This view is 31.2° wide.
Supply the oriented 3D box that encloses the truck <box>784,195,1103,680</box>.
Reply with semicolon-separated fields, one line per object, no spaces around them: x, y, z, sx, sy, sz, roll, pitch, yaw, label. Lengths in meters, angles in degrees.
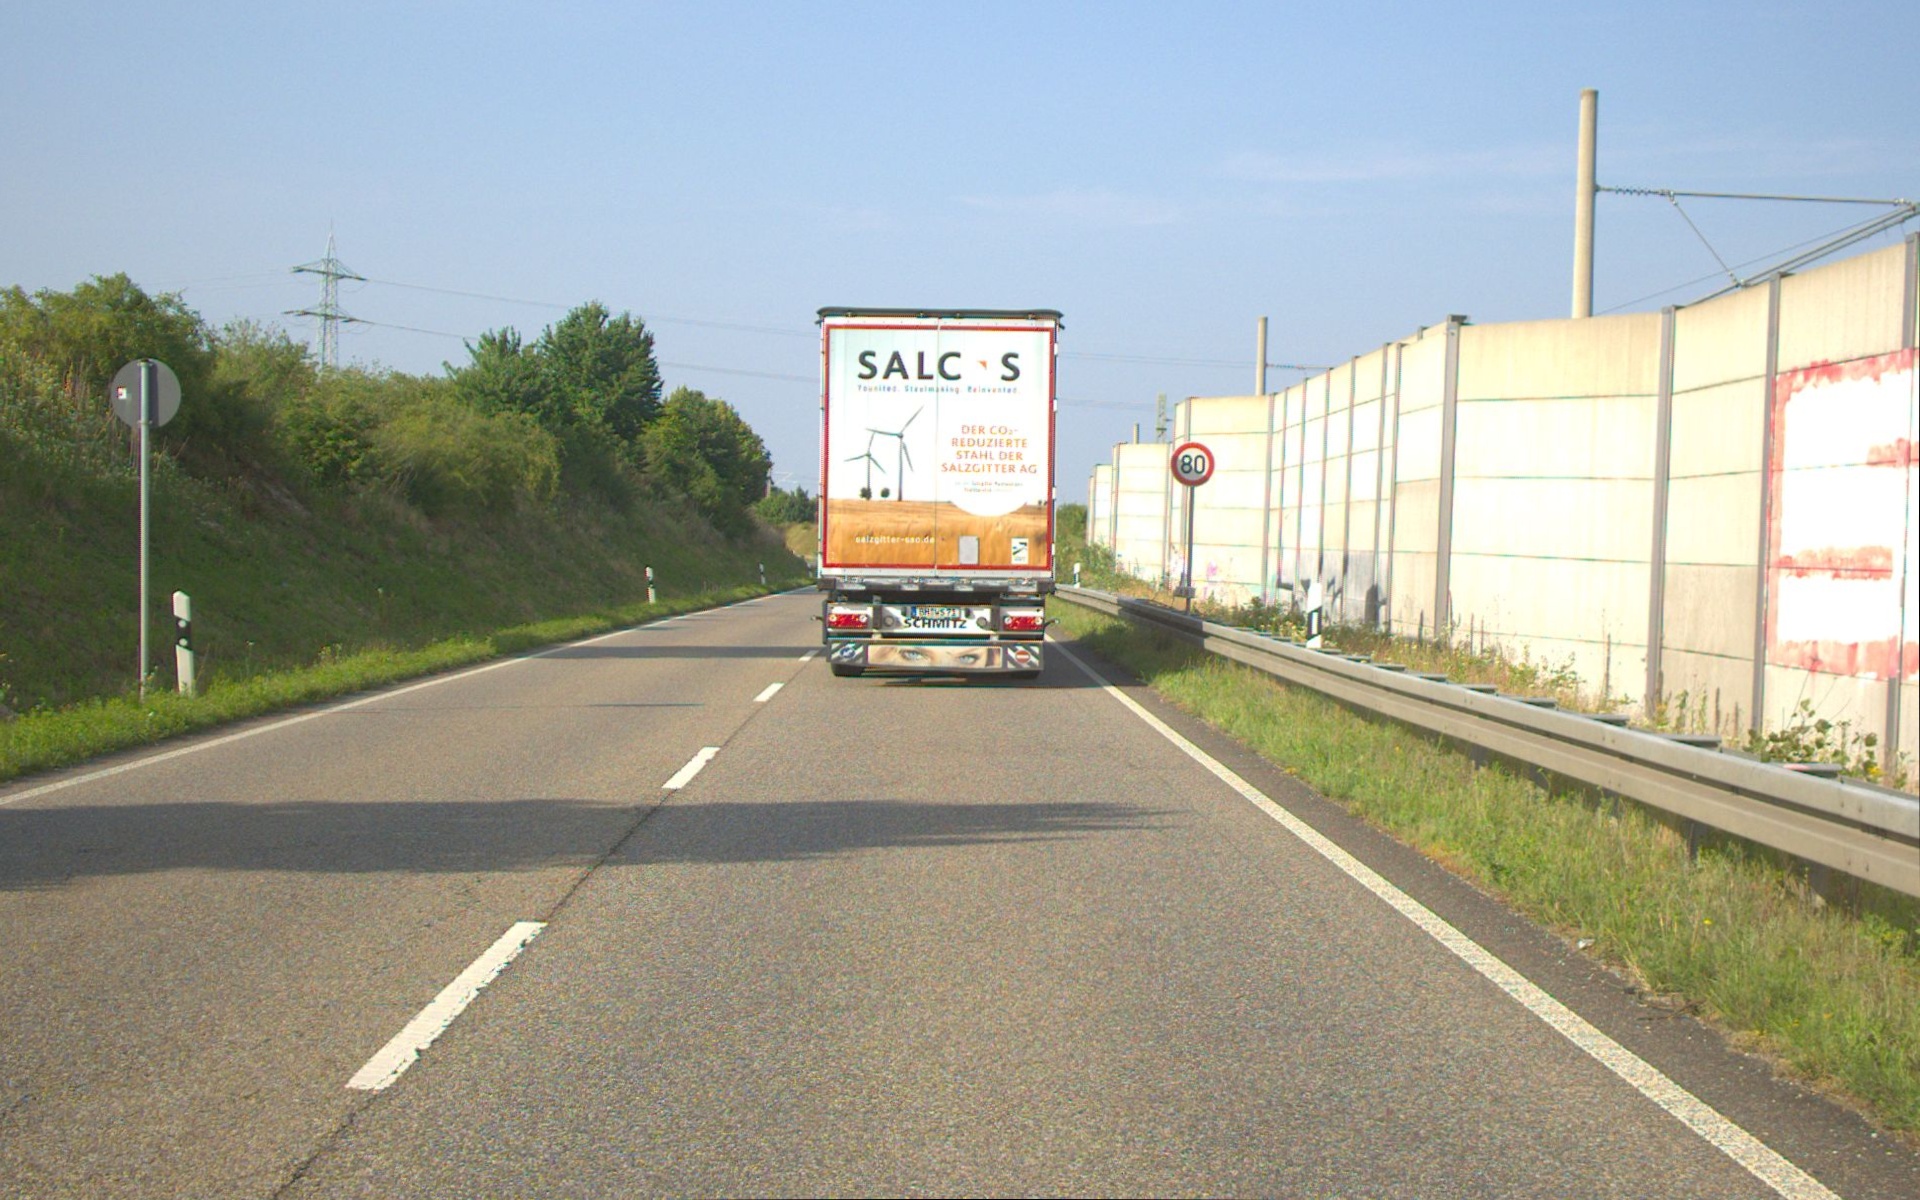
-0.380;-1.845;42.435;3.290;5.072;12.039;1;1;-2;truck
